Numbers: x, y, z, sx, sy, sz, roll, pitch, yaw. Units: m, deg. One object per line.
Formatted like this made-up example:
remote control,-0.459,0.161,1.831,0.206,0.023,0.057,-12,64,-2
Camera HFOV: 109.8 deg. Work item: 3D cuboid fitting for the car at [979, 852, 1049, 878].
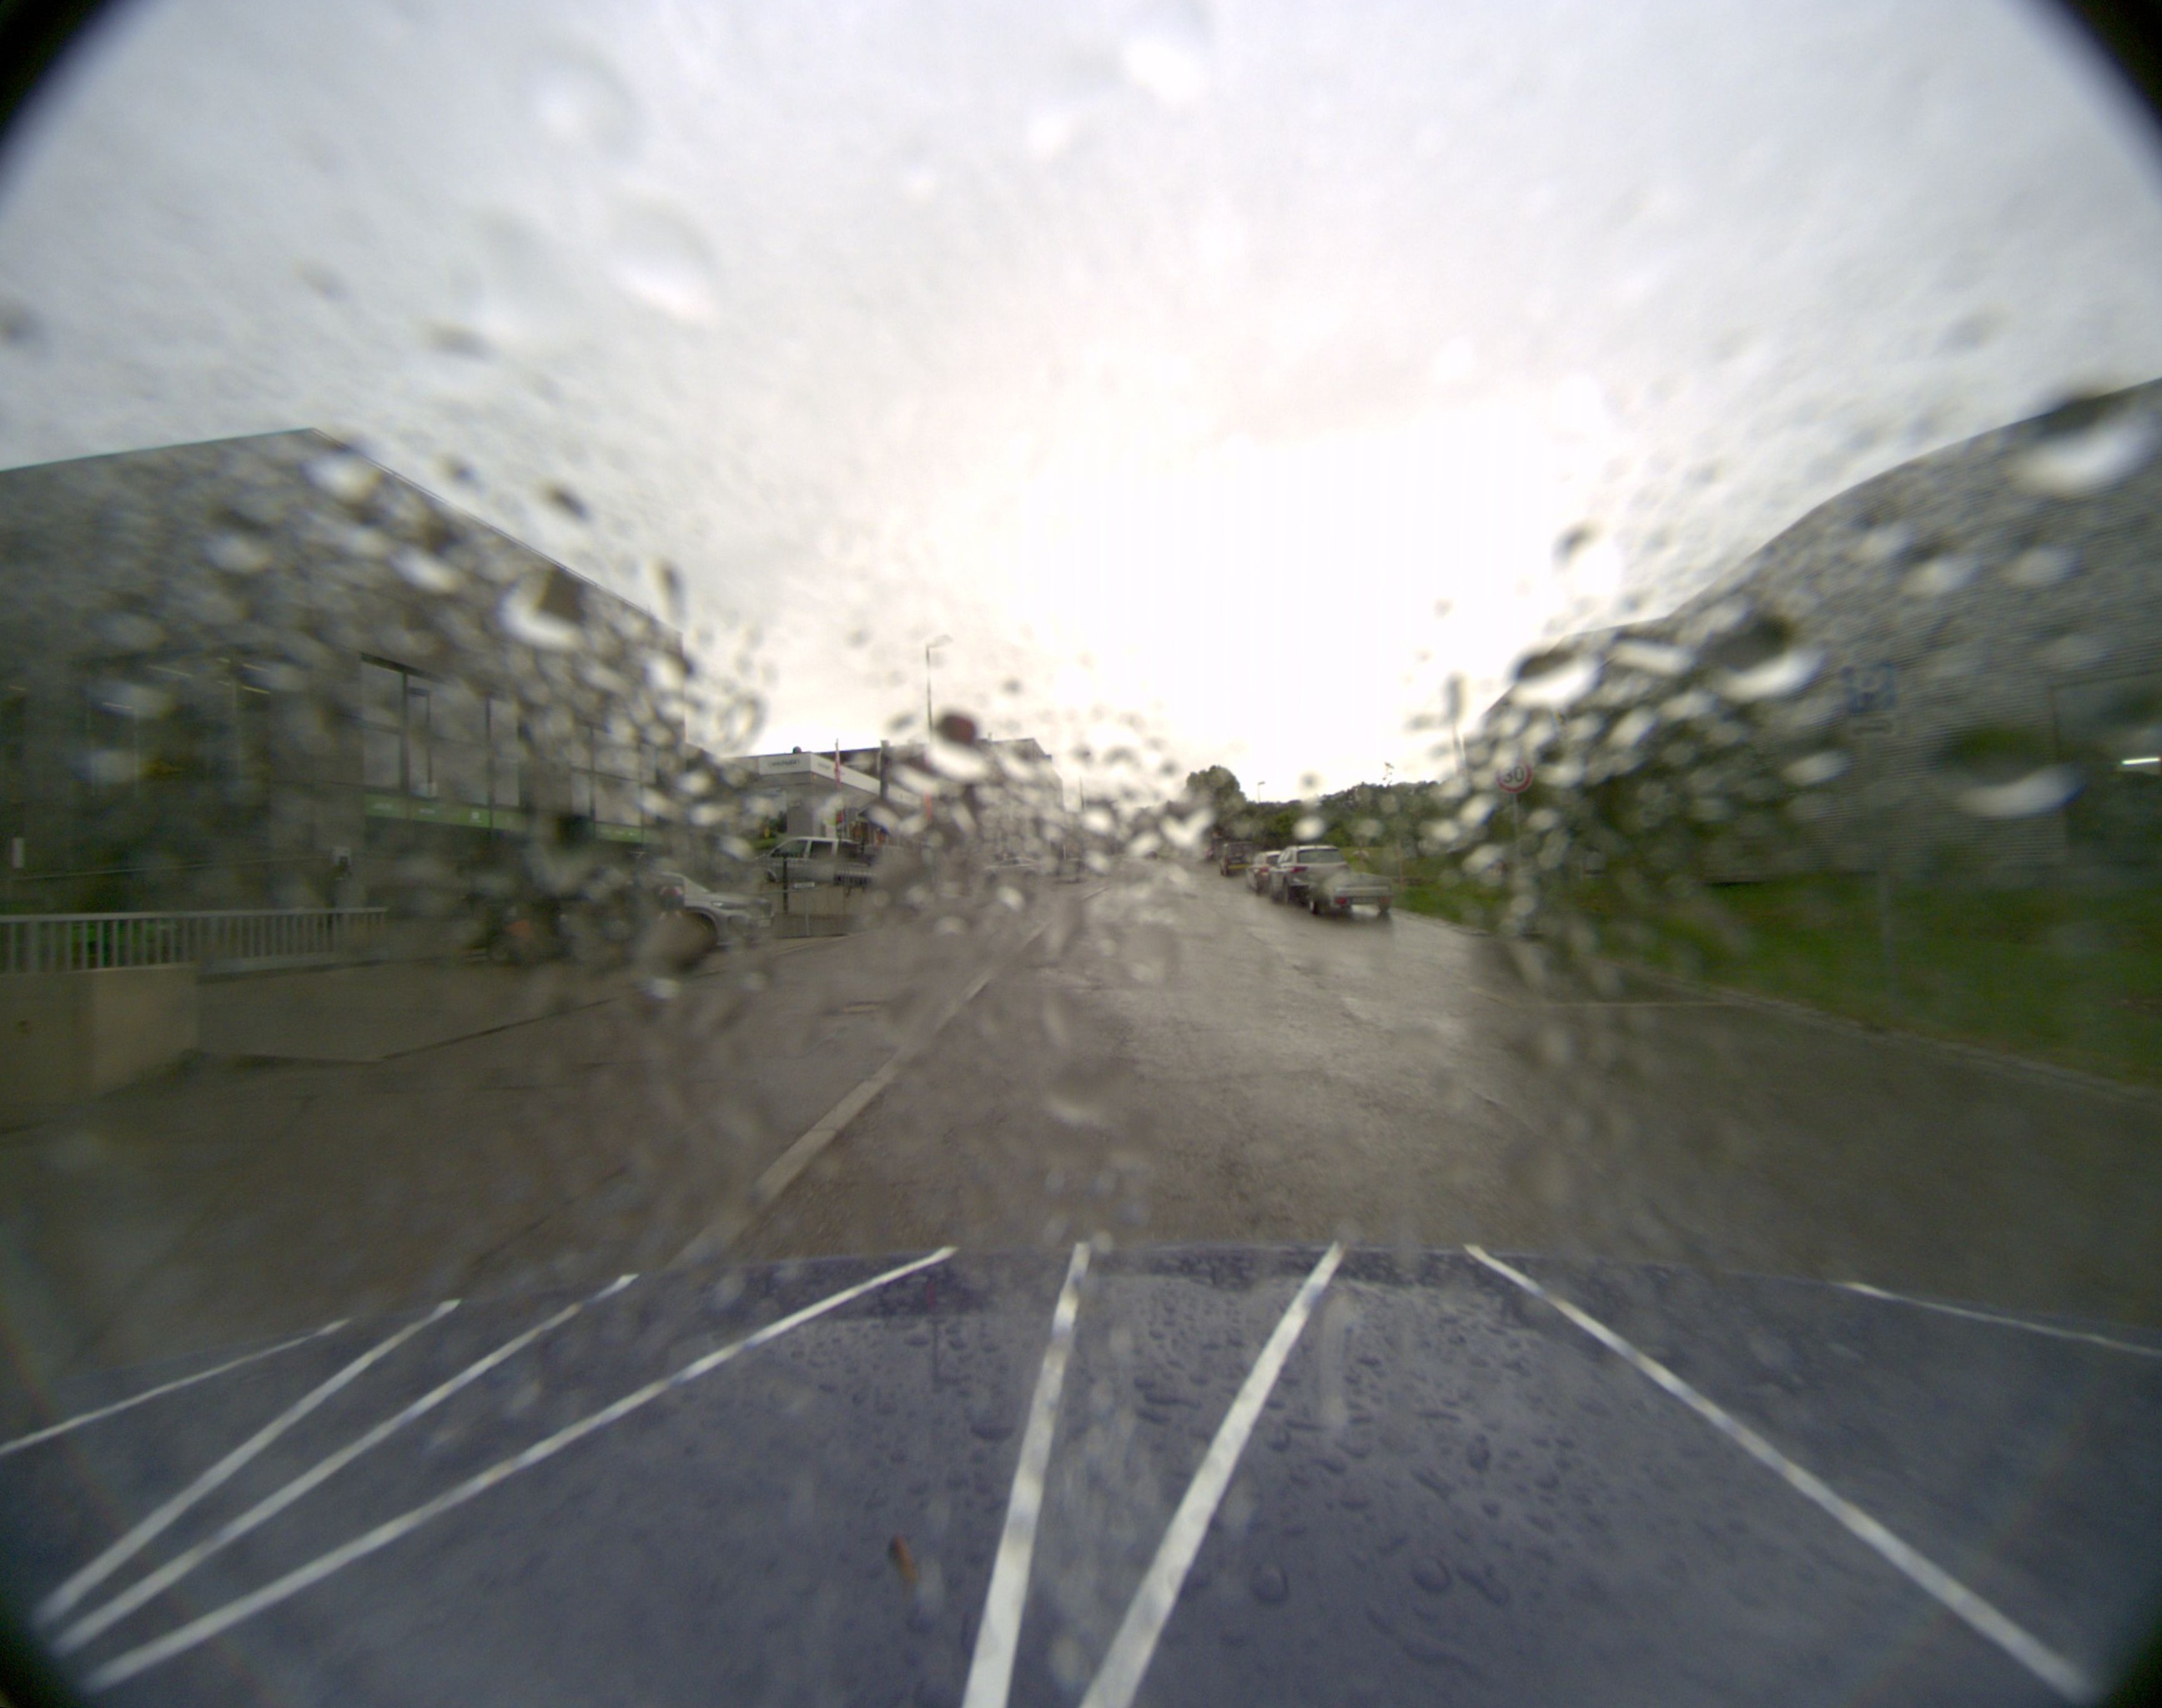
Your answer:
car,-4.219,0.686,48.530,4.129,1.565,2.004,-1,1,5

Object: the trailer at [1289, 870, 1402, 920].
trailer,6.451,0.951,18.940,1.684,0.883,3.897,-3,1,4

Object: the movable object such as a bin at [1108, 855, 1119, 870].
movable object such as a bin,2.403,0.651,55.948,0.745,1.060,0.637,-3,1,7

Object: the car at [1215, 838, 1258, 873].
car,8.996,0.047,44.204,1.919,1.821,4.849,-3,1,7

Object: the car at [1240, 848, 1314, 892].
car,7.510,0.543,29.639,1.960,1.452,5.249,-3,0,5

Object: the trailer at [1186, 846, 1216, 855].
trailer,16.877,-0.540,107.200,3.951,0.955,2.000,-4,0,1

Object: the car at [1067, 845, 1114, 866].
car,0.928,0.128,73.811,4.350,1.763,2.089,-2,1,4

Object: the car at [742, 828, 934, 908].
car,-7.734,0.400,24.455,5.307,2.002,2.223,5,2,7

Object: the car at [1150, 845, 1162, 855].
car,12.608,-0.662,128.164,1.751,1.500,3.935,-4,1,4

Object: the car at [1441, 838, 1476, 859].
car,27.317,-0.409,54.875,1.995,1.388,4.699,-2,0,29

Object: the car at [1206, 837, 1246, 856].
car,16.455,-0.832,86.319,4.308,1.895,1.862,-3,1,8

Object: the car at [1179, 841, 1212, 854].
car,16.905,-0.910,112.431,4.379,1.712,2.044,-3,1,-1

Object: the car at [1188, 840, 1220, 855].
car,16.934,-0.863,104.535,4.083,1.712,2.026,-5,1,4

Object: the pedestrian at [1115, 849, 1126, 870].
pedestrian,3.342,0.449,63.872,0.738,1.757,0.808,-3,1,7

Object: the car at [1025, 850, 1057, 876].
car,-3.000,0.674,57.675,1.752,1.740,4.474,-3,1,5

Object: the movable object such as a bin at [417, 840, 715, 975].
movable object such as a bin,-8.887,0.895,13.262,4.263,2.098,1.477,-2,1,6

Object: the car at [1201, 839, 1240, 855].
car,16.752,-0.818,91.370,4.206,1.712,1.755,-3,1,0

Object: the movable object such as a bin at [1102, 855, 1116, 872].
movable object such as a bin,1.984,0.687,54.011,0.730,1.107,0.705,-3,1,21

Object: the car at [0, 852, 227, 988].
car,-16.472,0.900,11.594,4.901,1.839,1.901,2,-3,5

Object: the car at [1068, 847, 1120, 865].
car,1.257,0.185,70.693,4.606,1.530,2.080,-1,1,5

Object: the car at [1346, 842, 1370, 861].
car,29.335,-0.204,80.508,1.995,1.742,4.393,-2,-3,25

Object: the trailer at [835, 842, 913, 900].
trailer,-9.417,0.740,34.952,1.891,2.402,4.311,-3,-1,7

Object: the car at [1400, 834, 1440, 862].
car,25.468,-0.400,56.987,2.130,1.910,5.621,-4,-2,29

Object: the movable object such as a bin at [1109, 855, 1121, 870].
movable object such as a bin,2.524,0.631,56.674,0.773,1.024,0.808,-3,1,7

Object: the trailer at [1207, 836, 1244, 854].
trailer,17.893,-1.087,94.174,4.222,1.973,1.774,-3,1,3

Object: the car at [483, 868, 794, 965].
car,-8.631,1.196,15.089,5.102,1.604,1.926,-2,0,5

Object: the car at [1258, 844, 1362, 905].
car,6.855,0.544,23.292,1.961,1.568,4.840,-2,1,4

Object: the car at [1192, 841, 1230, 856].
car,17.366,-0.756,101.663,4.628,1.581,1.806,-5,1,3
